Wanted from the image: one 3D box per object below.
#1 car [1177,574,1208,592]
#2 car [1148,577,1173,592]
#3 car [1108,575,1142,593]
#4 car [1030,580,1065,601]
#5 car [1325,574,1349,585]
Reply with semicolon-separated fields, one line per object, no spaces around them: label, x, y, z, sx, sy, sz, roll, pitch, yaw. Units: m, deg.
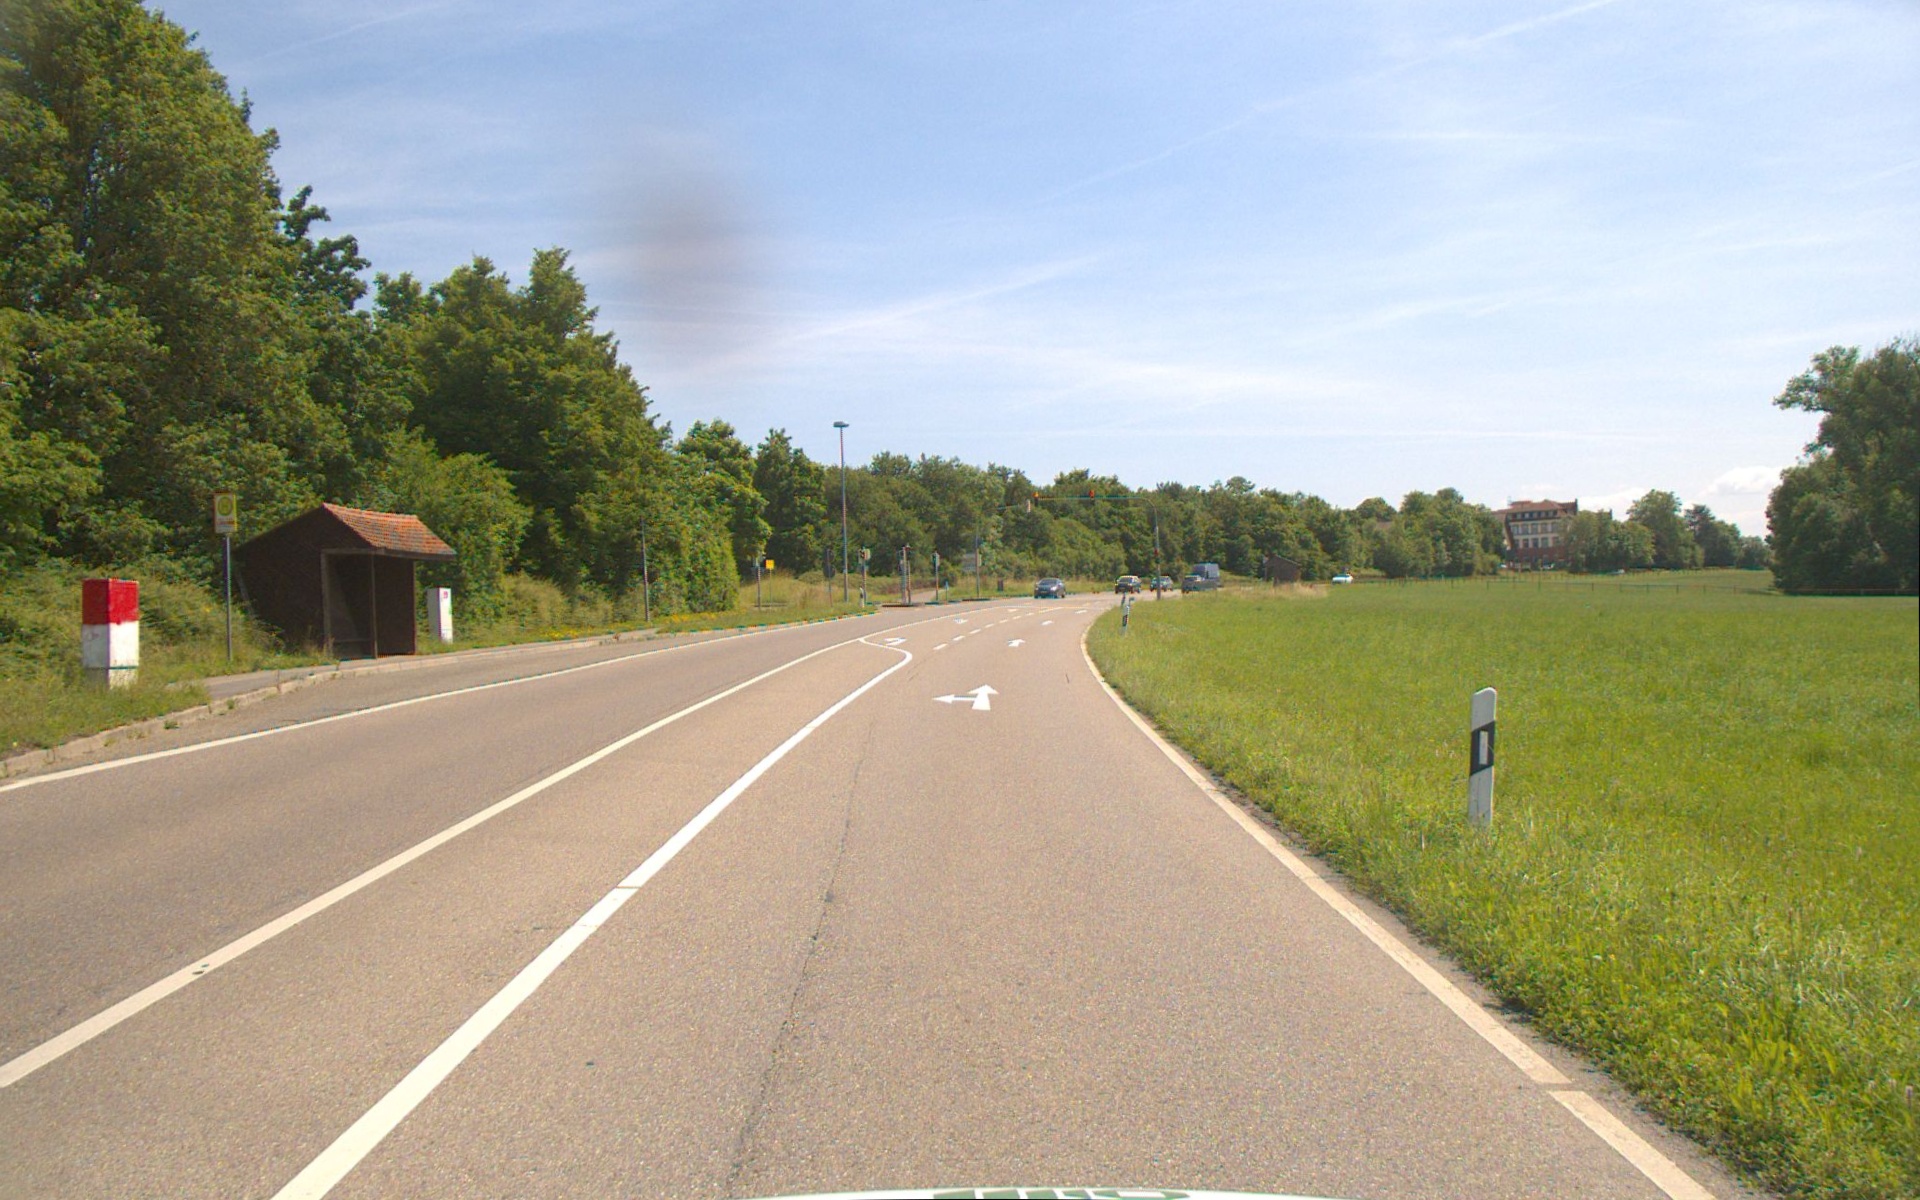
car;20.990;-1.515;149.028;1.952;1.601;4.001;0;0;20
car;20.270;-1.594;166.732;1.671;1.509;3.833;0;0;20
car;14.975;-1.446;150.152;1.934;1.589;4.187;0;0;24
car;6.551;-0.729;123.418;1.753;1.500;4.314;0;0;15
car;53.912;-2.937;236.482;1.903;1.575;4.615;0;0;33
